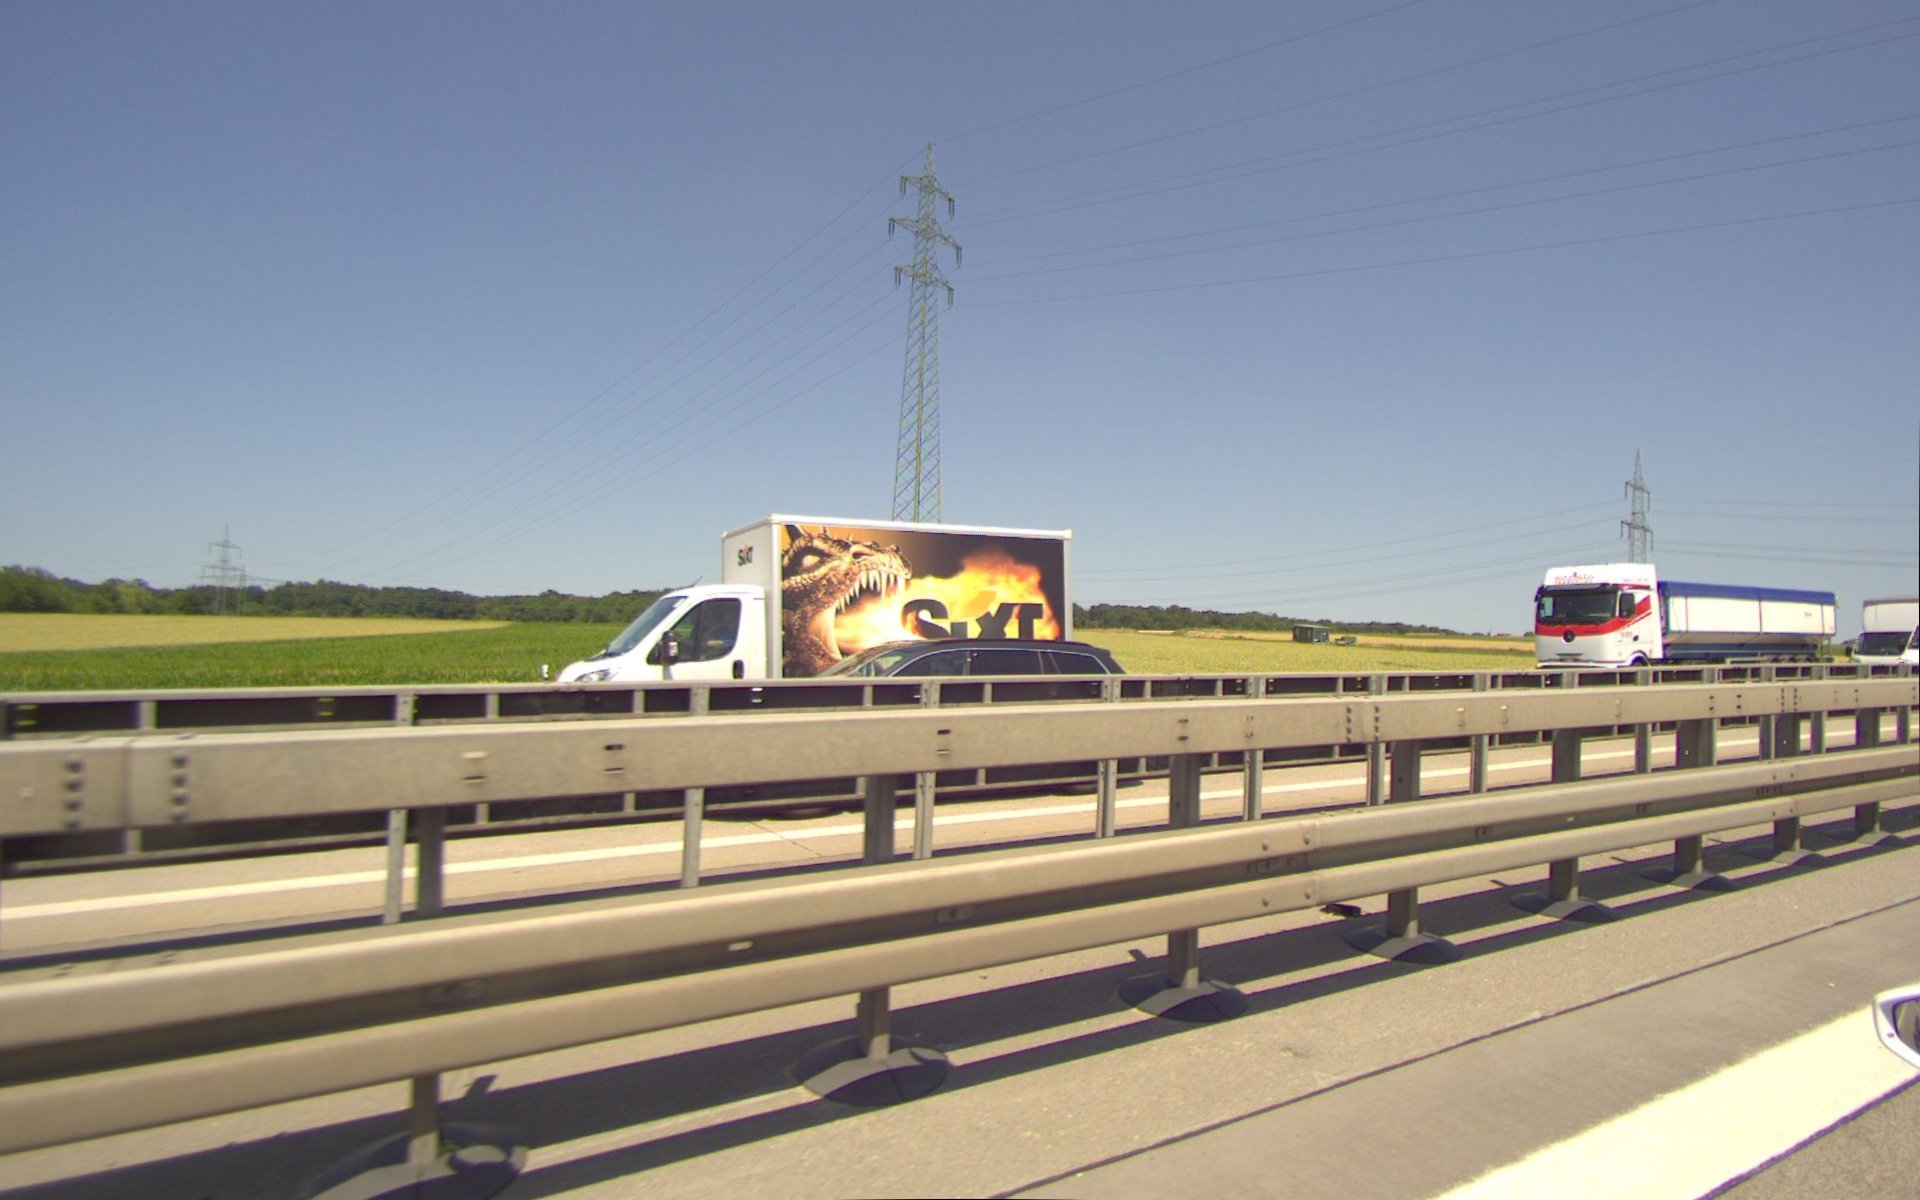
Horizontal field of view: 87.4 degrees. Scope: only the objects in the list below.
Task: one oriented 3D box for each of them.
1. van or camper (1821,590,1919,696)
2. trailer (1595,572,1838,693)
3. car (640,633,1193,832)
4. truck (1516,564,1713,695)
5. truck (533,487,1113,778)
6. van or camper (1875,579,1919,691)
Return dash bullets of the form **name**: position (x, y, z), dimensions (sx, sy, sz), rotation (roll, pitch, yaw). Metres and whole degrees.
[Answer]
- **van or camper**: position (31.602, 1.423, 33.317), dimensions (7.314, 3.206, 2.329), rotation (2, -3, -30)
- **trailer**: position (26.512, 1.169, 34.920), dimensions (11.229, 3.741, 2.693), rotation (2, 0, -31)
- **car**: position (-0.269, 1.087, 9.314), dimensions (4.876, 1.439, 1.760), rotation (2, -4, -30)
- **truck**: position (20.400, 0.926, 31.262), dimensions (5.986, 3.739, 2.704), rotation (2, 0, -31)
- **truck**: position (-1.551, 0.490, 13.352), dimensions (7.341, 3.049, 2.239), rotation (2, -3, -30)
- **van or camper**: position (25.201, 0.920, 24.817), dimensions (6.050, 2.609, 2.113), rotation (2, 0, -30)
